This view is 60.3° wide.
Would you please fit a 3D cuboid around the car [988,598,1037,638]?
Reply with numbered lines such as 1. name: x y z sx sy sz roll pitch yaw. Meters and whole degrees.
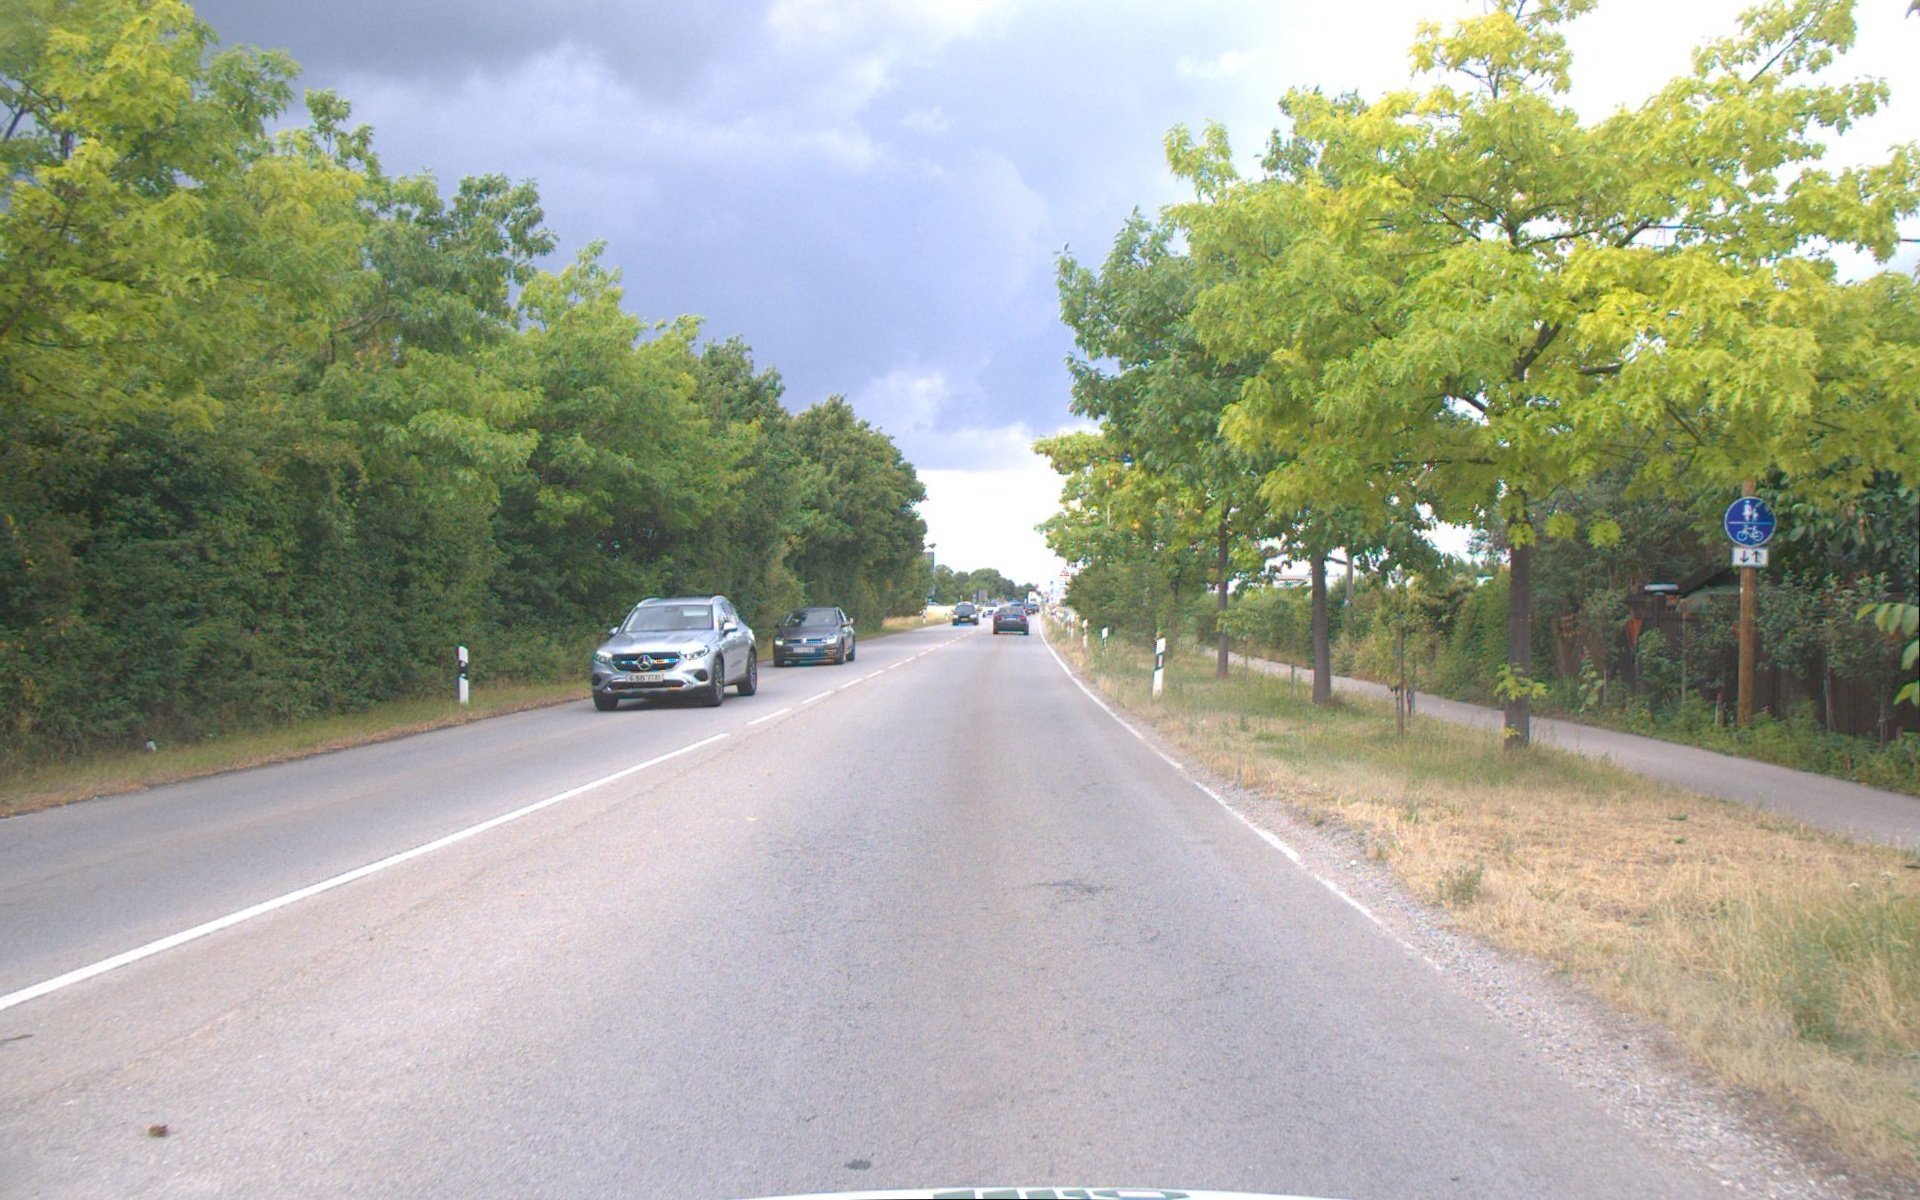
1. car: 2.624 0.906 83.390 2.323 1.913 4.477 -2 -1 0

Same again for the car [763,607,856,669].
1. car: -3.848 0.958 42.903 1.953 1.444 4.477 -2 -1 0

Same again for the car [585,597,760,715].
1. car: -4.385 0.820 25.920 1.953 1.629 4.663 -2 -1 -1

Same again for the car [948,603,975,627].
1. car: 0.131 1.100 120.729 1.900 1.614 4.556 -2 -1 0

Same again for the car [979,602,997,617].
1. car: 3.346 1.125 197.677 1.952 1.713 4.811 -1 0 2
